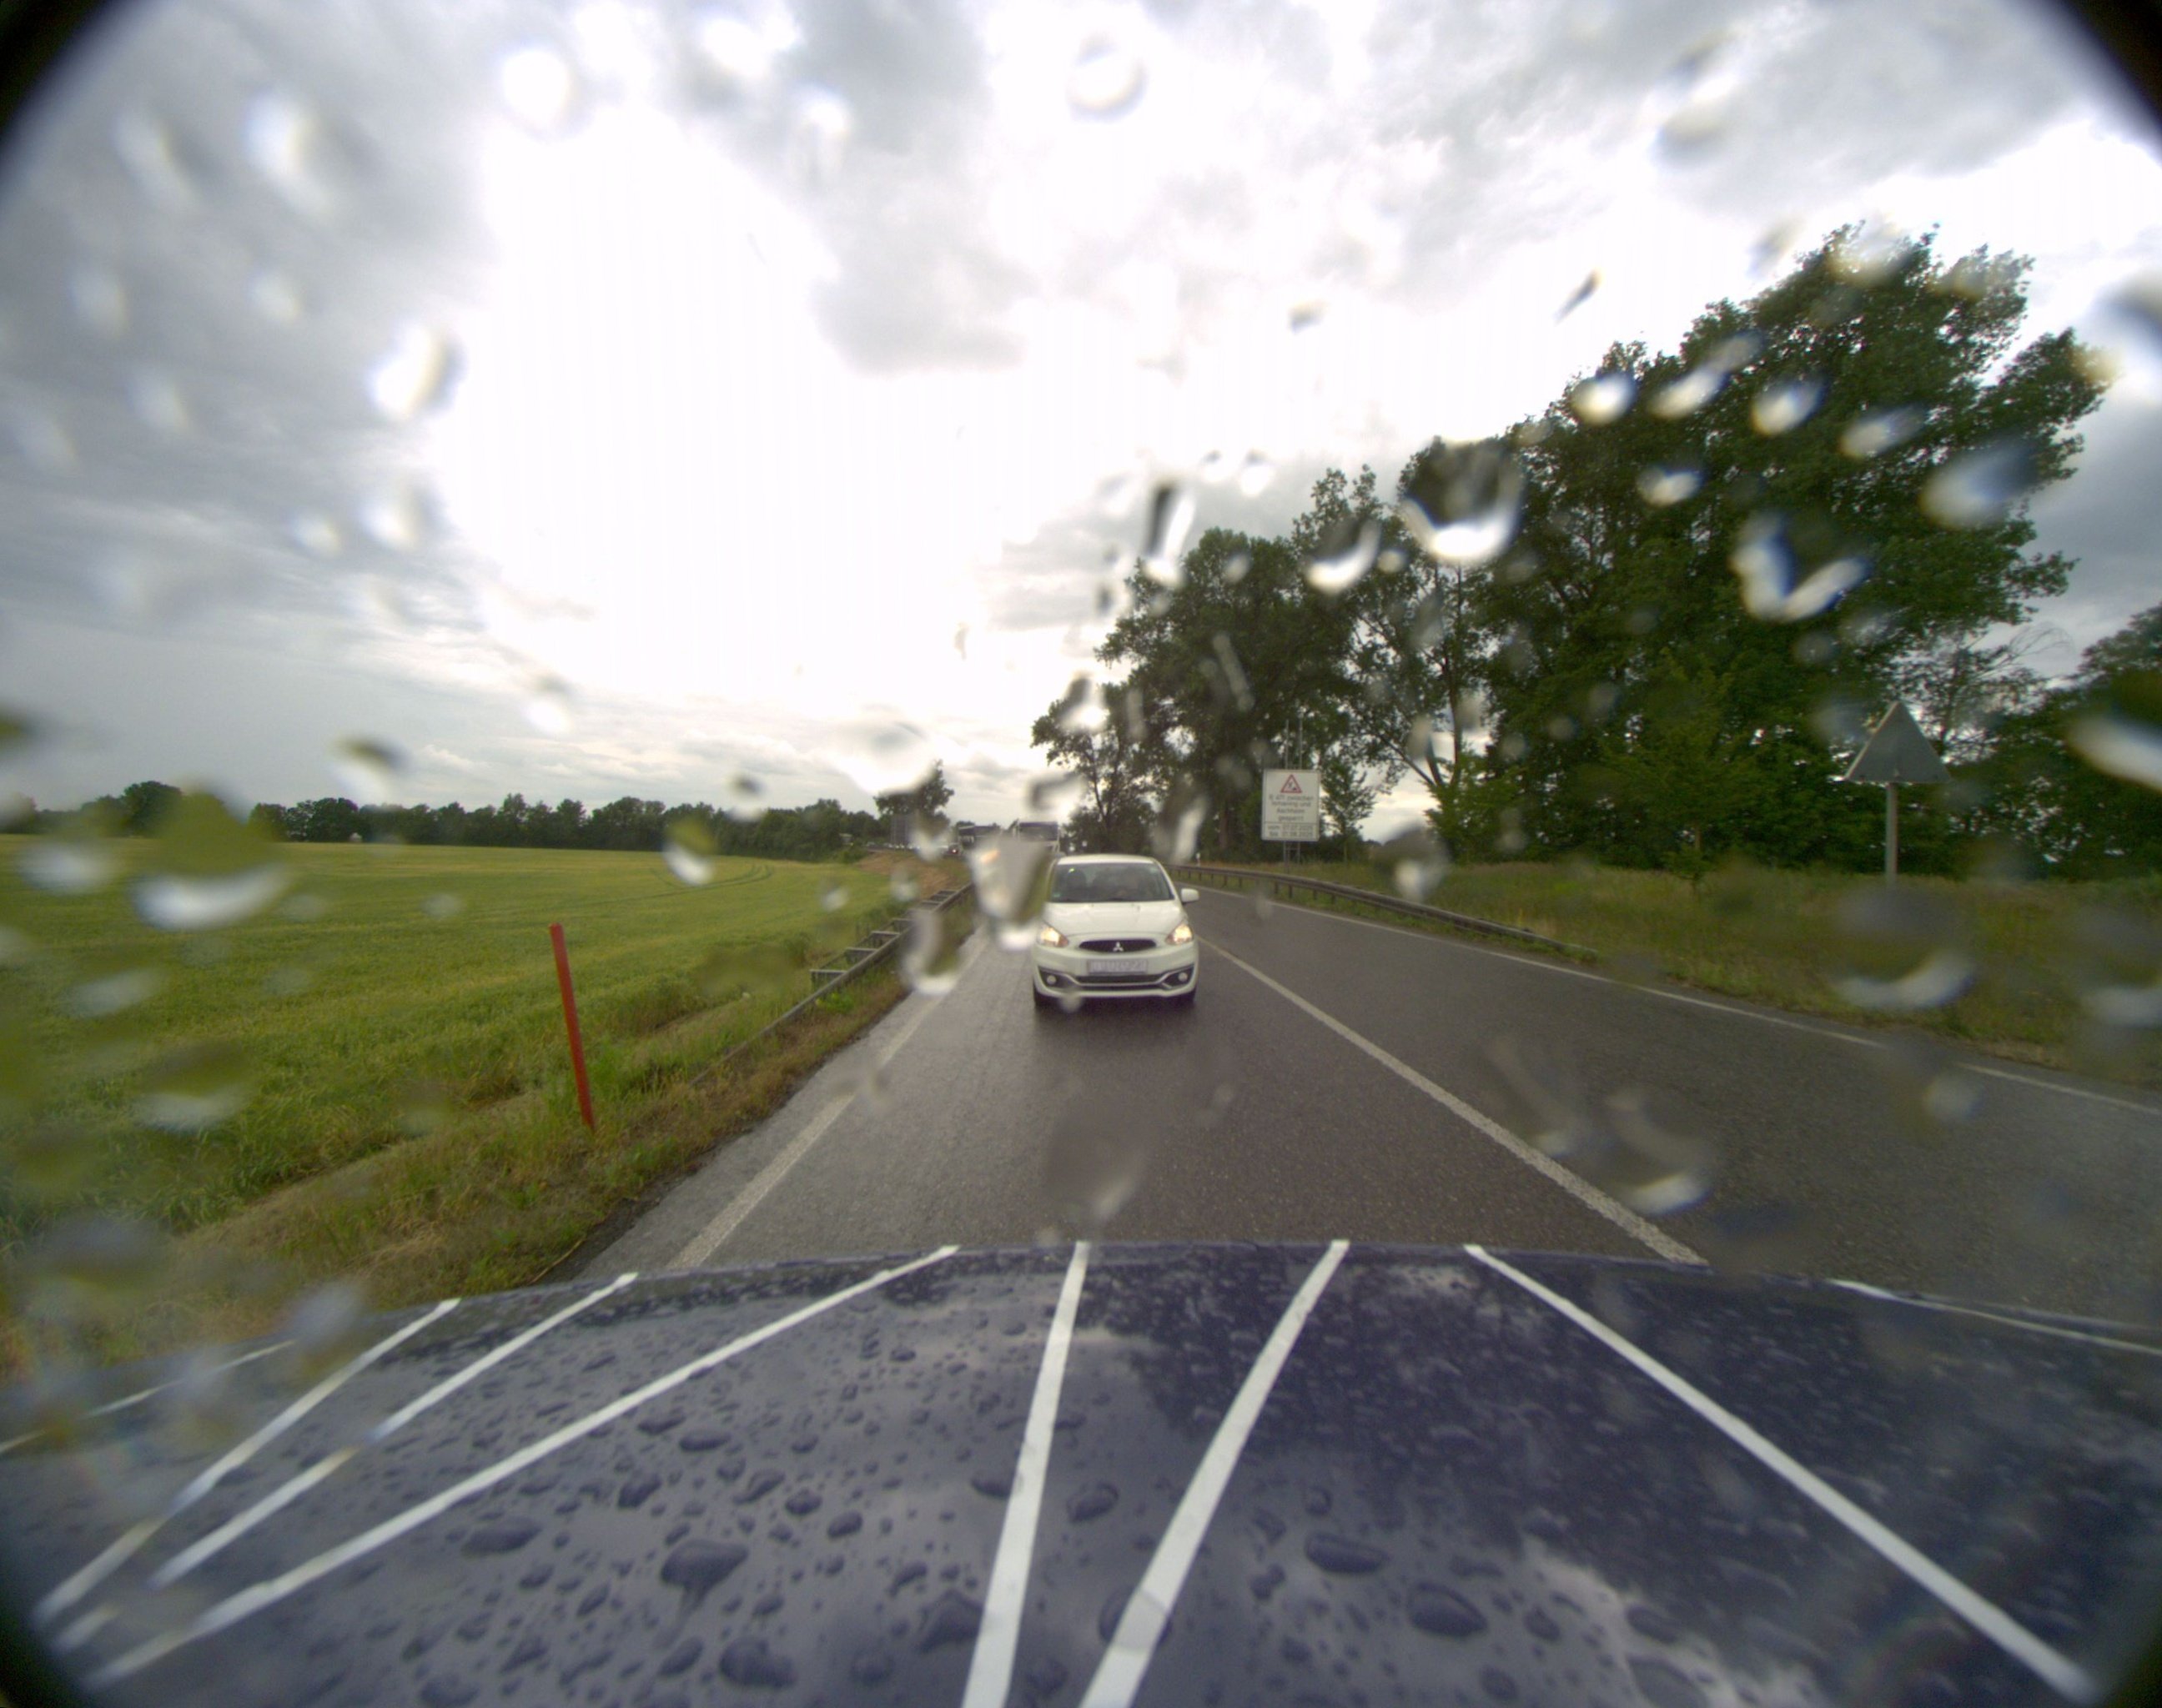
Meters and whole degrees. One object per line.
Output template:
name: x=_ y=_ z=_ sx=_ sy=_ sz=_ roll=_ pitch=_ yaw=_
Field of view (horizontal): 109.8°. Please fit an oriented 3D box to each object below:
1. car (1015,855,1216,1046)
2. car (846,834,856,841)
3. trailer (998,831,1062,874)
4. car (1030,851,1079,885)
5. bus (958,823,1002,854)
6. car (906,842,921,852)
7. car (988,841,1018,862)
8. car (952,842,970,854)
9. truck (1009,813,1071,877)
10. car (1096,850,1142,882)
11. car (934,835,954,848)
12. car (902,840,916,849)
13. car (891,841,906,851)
car: x=0.267 y=0.819 z=8.401 sx=1.653 sy=1.461 sz=4.028 roll=-2 pitch=1 yaw=-1
car: x=-65.207 y=-4.662 z=215.709 sx=1.785 sy=1.918 sz=4.167 roll=-3 pitch=2 yaw=-31
trailer: x=-3.989 y=-0.234 z=54.860 sx=2.986 sy=2.618 sz=15.665 roll=-2 pitch=1 yaw=-9
car: x=-1.280 y=0.600 z=35.215 sx=1.782 sy=1.380 sz=4.324 roll=-2 pitch=1 yaw=-8
bus: x=-12.167 y=-1.877 z=90.080 sx=2.967 sy=3.294 sz=14.812 roll=-2 pitch=2 yaw=-16
car: x=-32.518 y=-1.382 z=147.471 sx=2.002 sy=2.002 sz=4.223 roll=-2 pitch=2 yaw=-22
car: x=-7.329 y=-0.238 z=70.916 sx=2.044 sy=1.832 sz=5.328 roll=-2 pitch=1 yaw=-13
car: x=-16.746 y=-0.792 z=105.558 sx=1.816 sy=1.569 sz=3.993 roll=-2 pitch=1 yaw=-18
truck: x=-2.616 y=-0.557 z=46.445 sx=2.986 sy=3.590 sz=6.074 roll=-2 pitch=1 yaw=-9
car: x=1.833 y=0.548 z=37.972 sx=1.635 sy=1.389 sz=4.316 roll=-2 pitch=1 yaw=-6
car: x=-22.054 y=-1.982 z=122.084 sx=2.002 sy=2.002 sz=5.325 roll=-2 pitch=2 yaw=-23
car: x=-39.474 y=-2.253 z=174.073 sx=2.003 sy=2.002 sz=4.193 roll=-2 pitch=2 yaw=-29
car: x=-38.293 y=-1.640 z=159.461 sx=2.003 sy=2.002 sz=4.255 roll=-2 pitch=2 yaw=-28
